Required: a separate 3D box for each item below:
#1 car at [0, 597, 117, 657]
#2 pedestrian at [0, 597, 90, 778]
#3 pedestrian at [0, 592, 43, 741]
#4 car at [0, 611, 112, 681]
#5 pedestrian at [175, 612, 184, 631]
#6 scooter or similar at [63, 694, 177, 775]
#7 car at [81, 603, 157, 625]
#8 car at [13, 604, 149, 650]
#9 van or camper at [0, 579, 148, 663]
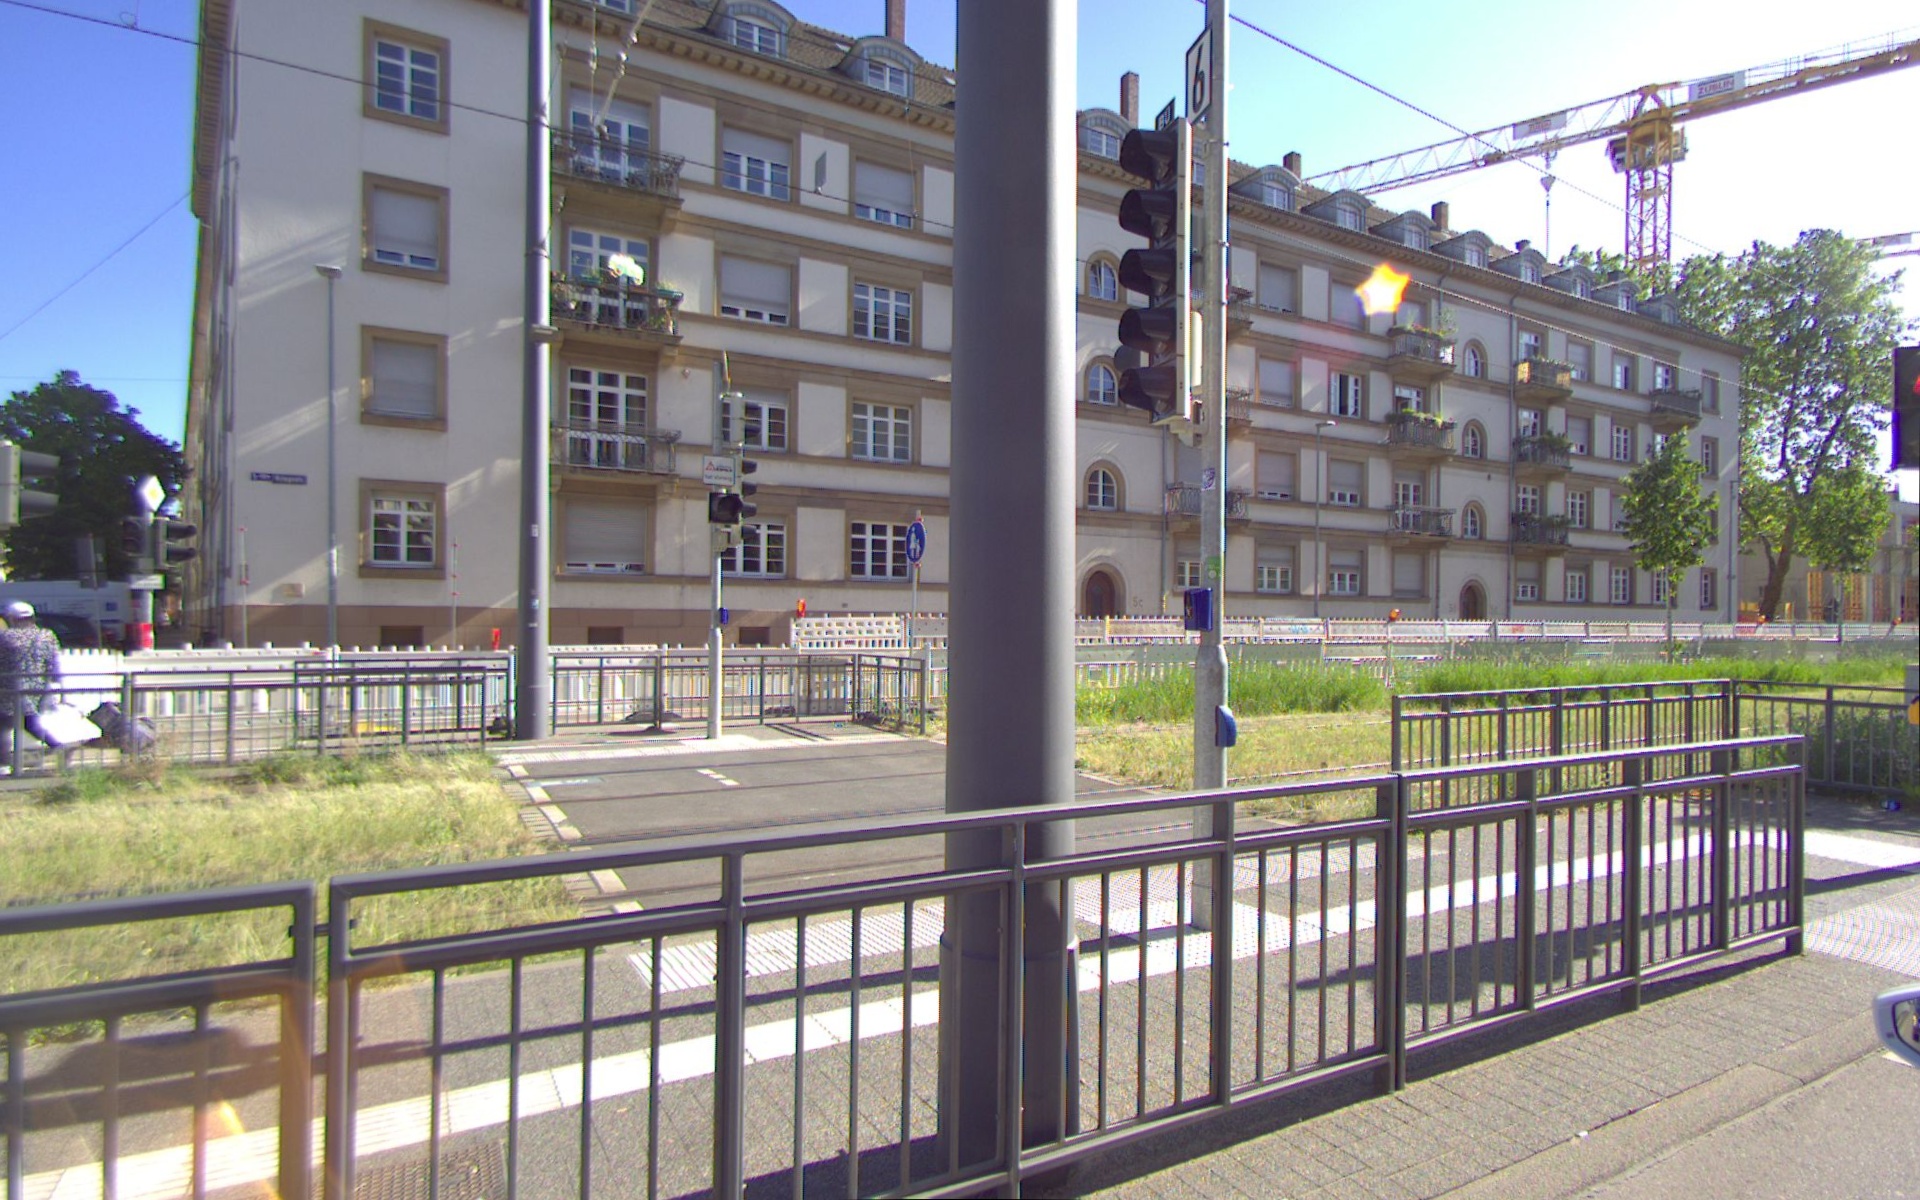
[{"bbox_3d":[-24.826,0.718,26.699,3.635,1.542,1.672,1,-1,-39],"label":"car"},{"bbox_3d":[-8.448,0.753,8.985,0.804,1.557,0.792,1,0,-26],"label":"pedestrian"},{"bbox_3d":[-12.151,0.795,12.423,0.895,1.804,0.864,1,0,-18],"label":"pedestrian"},{"bbox_3d":[-21.468,1.014,22.555,3.642,1.542,1.672,1,-1,-39],"label":"car"},{"bbox_3d":[-74.672,2.067,96.106,0.682,1.778,0.808,1,-1,-36],"label":"pedestrian"},{"bbox_3d":[-7.797,1.235,9.352,0.700,0.660,0.512,1,0,-26],"label":"scooter or similar"},{"bbox_3d":[-58.127,0.987,69.497,1.730,1.480,3.854,-1,-1,43],"label":"car"},{"bbox_3d":[-35.540,1.093,40.766,3.963,1.799,1.724,1,-1,-37],"label":"car"},{"bbox_3d":[-28.144,0.629,30.033,5.911,2.432,1.976,1,-1,-42],"label":"van or camper"}]
